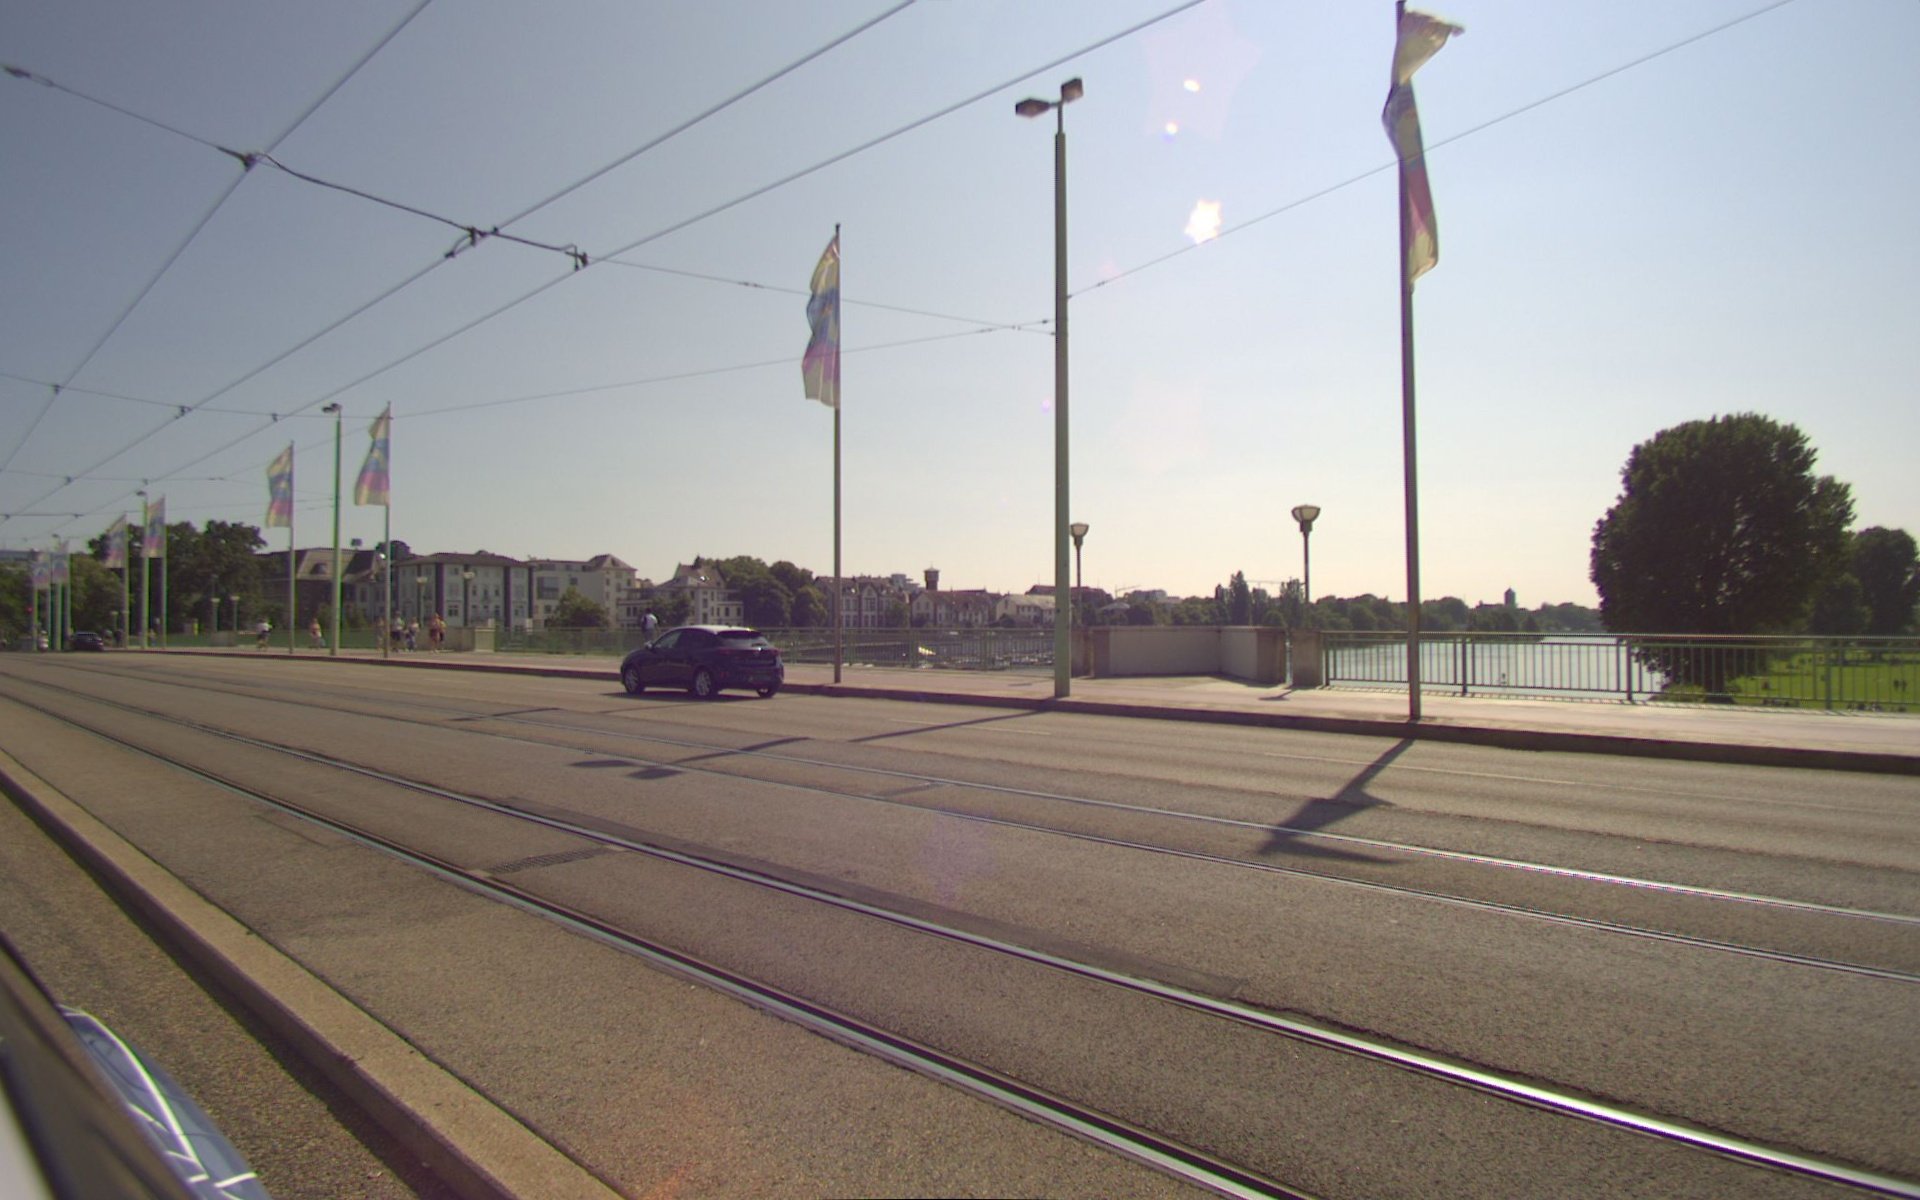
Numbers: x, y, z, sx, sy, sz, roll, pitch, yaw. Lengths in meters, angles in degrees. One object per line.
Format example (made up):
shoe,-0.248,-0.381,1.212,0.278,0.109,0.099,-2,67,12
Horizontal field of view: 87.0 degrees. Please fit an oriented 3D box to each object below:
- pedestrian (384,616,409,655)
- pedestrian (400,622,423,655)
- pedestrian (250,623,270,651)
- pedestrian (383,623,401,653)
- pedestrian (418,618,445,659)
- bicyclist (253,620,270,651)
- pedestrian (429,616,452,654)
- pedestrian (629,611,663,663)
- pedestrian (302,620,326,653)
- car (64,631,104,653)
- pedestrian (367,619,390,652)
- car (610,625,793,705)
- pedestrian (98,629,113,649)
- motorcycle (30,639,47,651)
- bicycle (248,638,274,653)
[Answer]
pedestrian,-25.292,1.584,45.428,1.022,1.712,0.663,-1,0,41
pedestrian,-24.768,1.740,45.699,1.022,1.425,0.584,-1,0,41
pedestrian,-44.144,2.316,63.822,1.022,1.712,0.777,-1,0,41
pedestrian,-28.080,1.878,50.014,0.788,1.448,0.540,-1,0,41
pedestrian,-22.443,1.635,42.971,1.022,1.703,0.677,-1,0,41
bicyclist,-37.544,1.889,54.398,0.621,1.663,0.657,-2,-2,42
pedestrian,-23.814,1.585,46.398,1.022,1.712,0.584,-1,0,41
pedestrian,-10.610,1.252,34.188,1.022,1.712,0.584,-1,0,41
pedestrian,-34.227,1.926,53.648,1.022,1.712,0.777,-1,0,41
car,-60.881,2.884,70.309,3.999,1.447,1.650,-1,-2,42
pedestrian,-28.432,1.729,49.479,1.022,1.611,0.619,-1,0,41
car,-5.314,1.255,20.583,3.900,1.465,1.698,-1,-3,41
pedestrian,-72.864,3.318,86.287,1.022,1.712,0.777,-1,0,41
motorcycle,-75.464,3.678,82.891,2.144,0.895,0.725,-1,3,41
bicycle,-37.641,2.440,54.471,2.172,0.721,0.658,-1,-2,42
